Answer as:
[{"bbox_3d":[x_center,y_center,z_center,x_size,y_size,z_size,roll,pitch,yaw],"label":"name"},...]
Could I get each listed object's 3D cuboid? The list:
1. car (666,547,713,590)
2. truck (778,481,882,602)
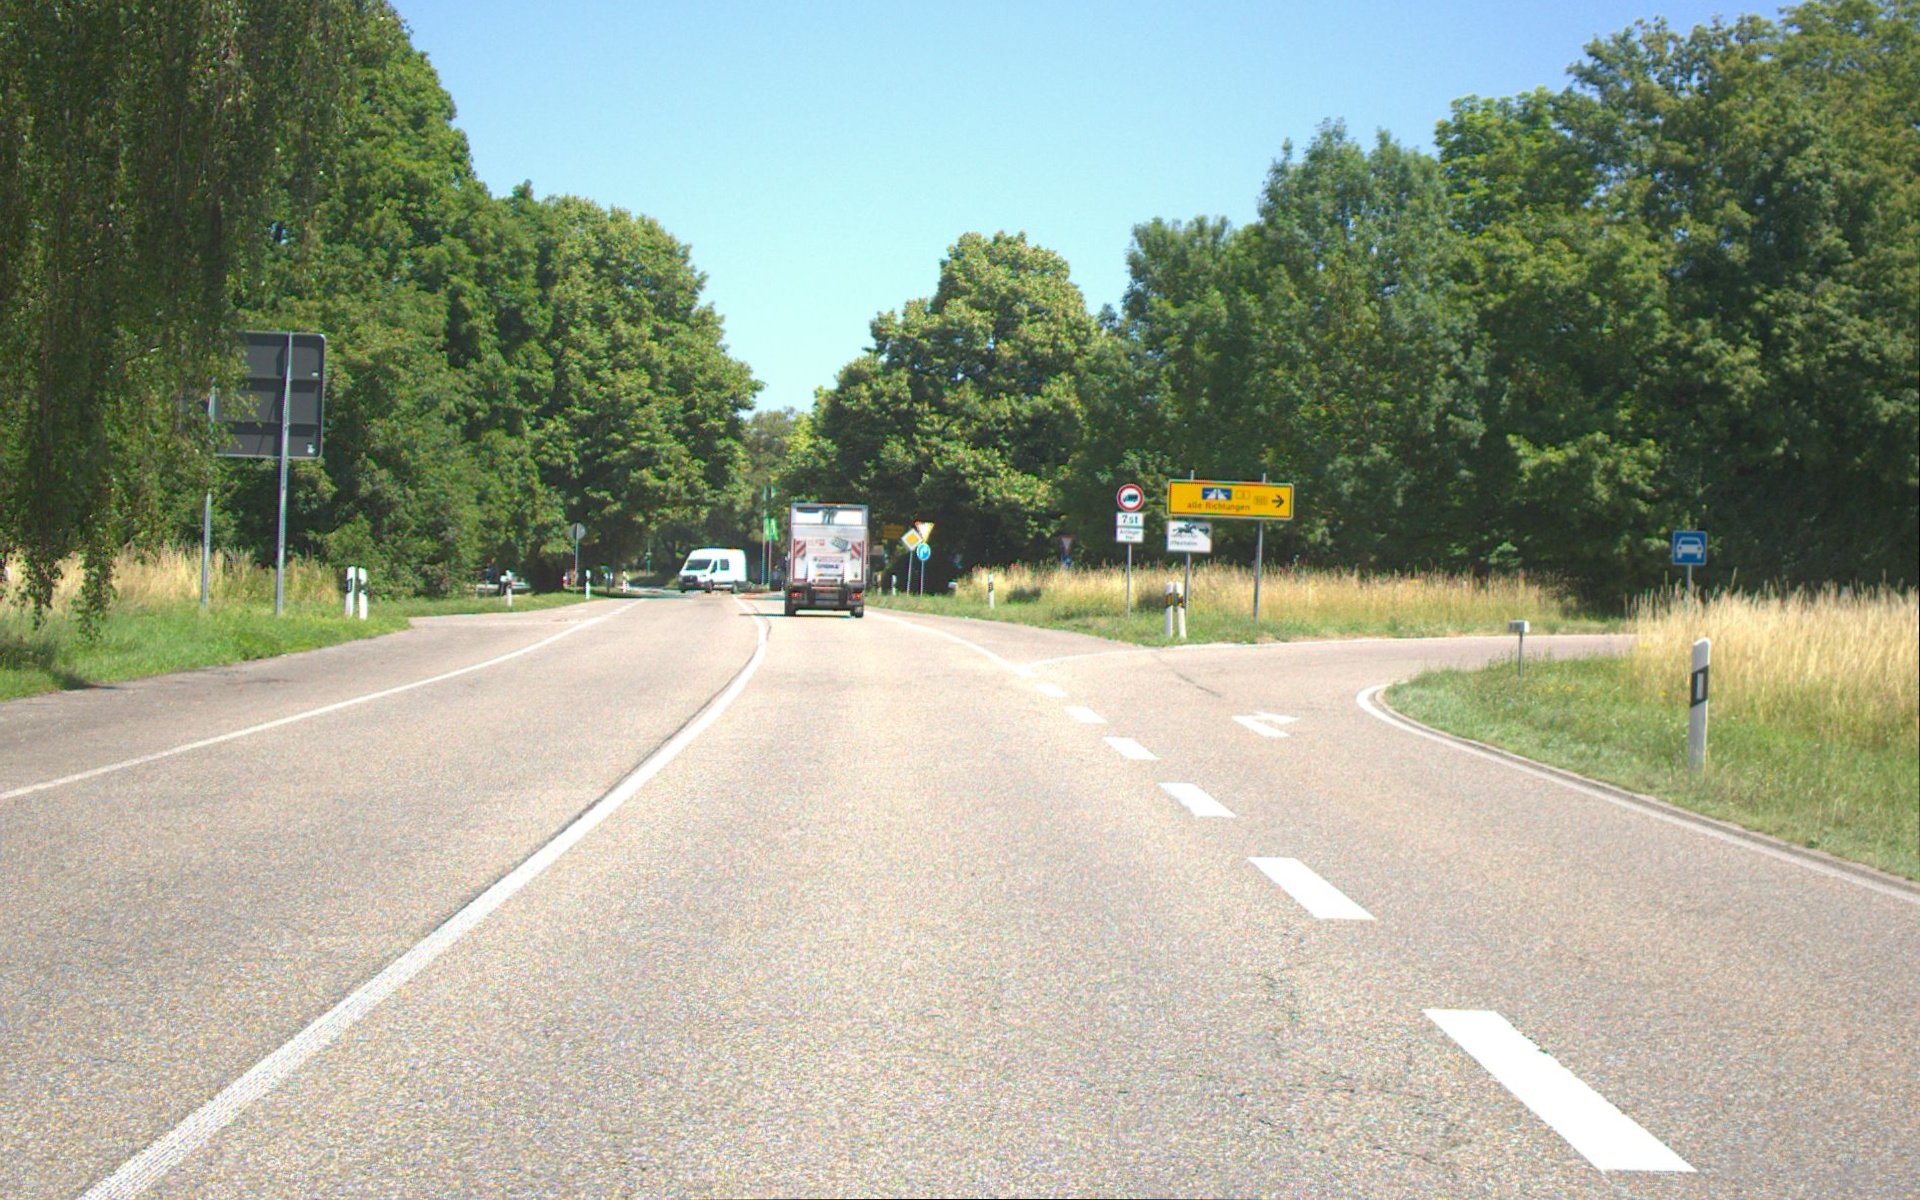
[{"bbox_3d":[-16.661,-1.928,212.022,2.073,2.618,6.783,1,0,2],"label":"car"},{"bbox_3d":[-3.450,-1.575,92.399,2.533,3.124,5.361,1,1,0],"label":"truck"}]
